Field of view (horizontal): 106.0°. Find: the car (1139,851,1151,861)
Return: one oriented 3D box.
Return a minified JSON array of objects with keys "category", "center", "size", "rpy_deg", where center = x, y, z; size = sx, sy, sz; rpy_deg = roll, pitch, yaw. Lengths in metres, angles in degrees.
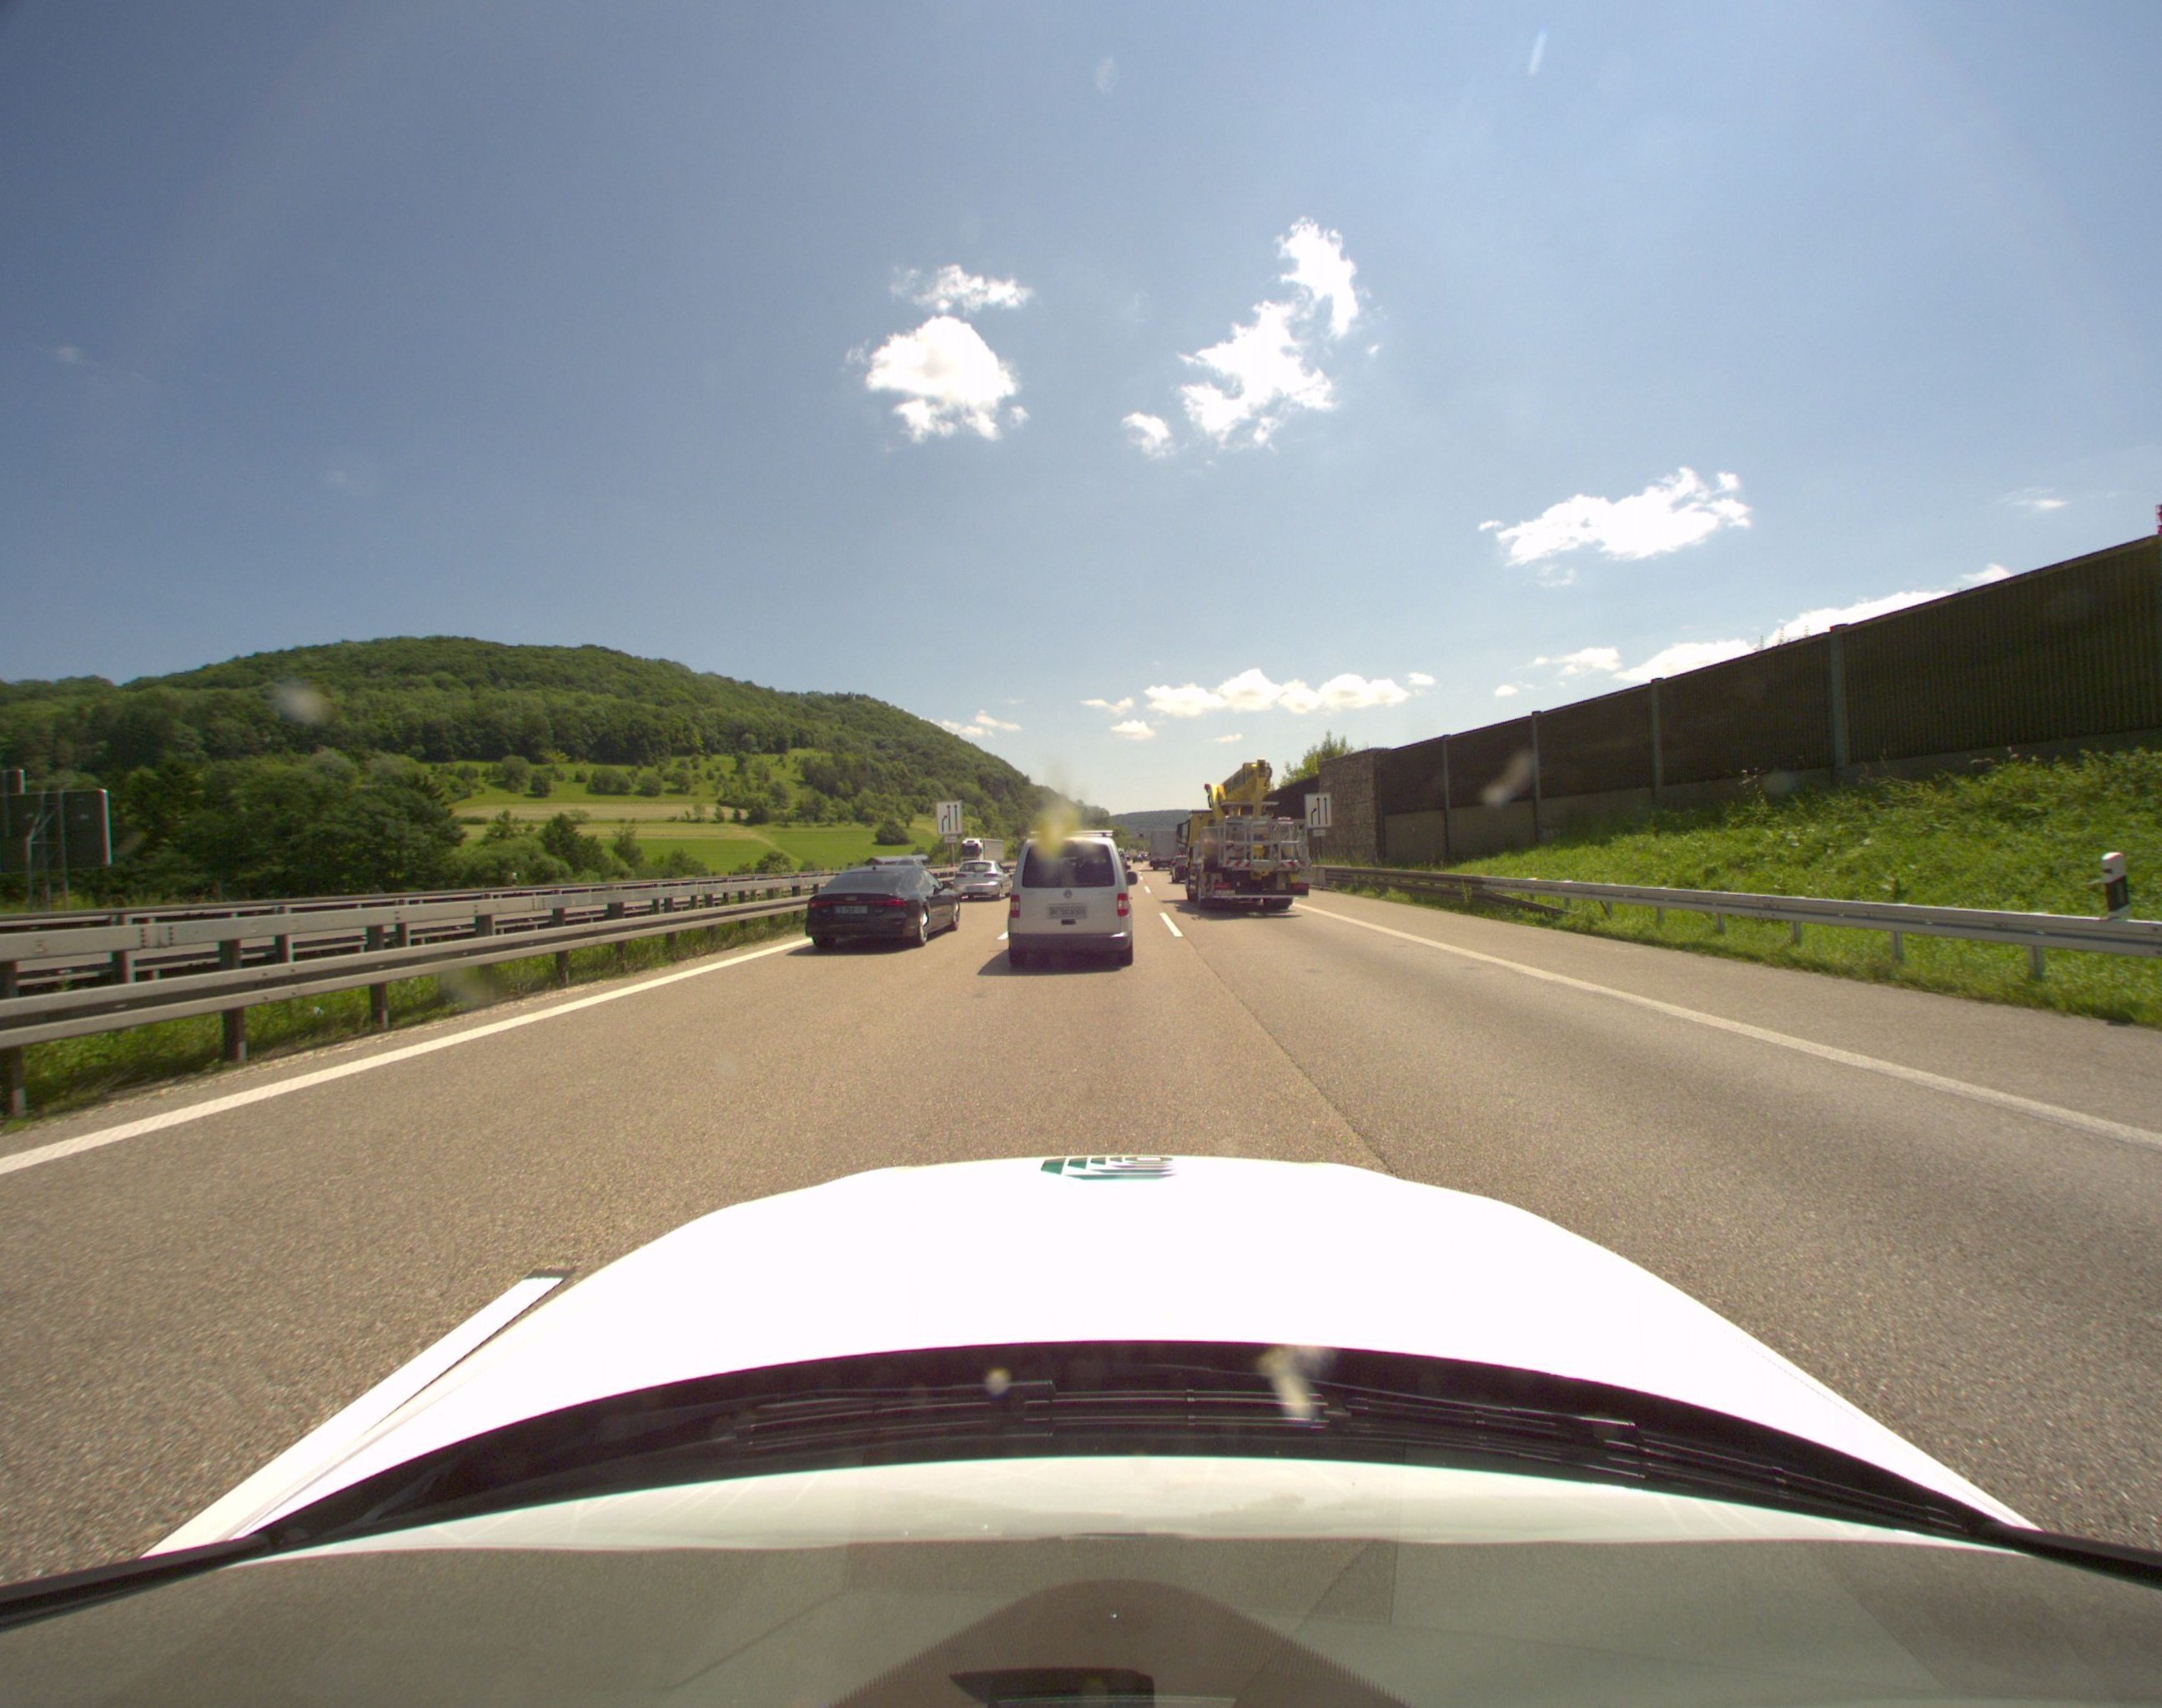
[{"category":"car","center":[12.739,0.368,161.810],"size":[2.107,1.828,3.999],"rpy_deg":[0,-1,0]}]

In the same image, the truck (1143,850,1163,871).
[{"category":"truck","center":[9.165,0.757,103.336],"size":[2.379,2.541,5.947],"rpy_deg":[-1,0,5]}]

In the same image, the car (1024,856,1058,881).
[{"category":"car","center":[-2.475,0.885,51.354],"size":[1.918,1.499,4.000],"rpy_deg":[-1,0,0]}]

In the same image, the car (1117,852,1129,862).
[{"category":"car","center":[7.803,0.606,152.351],"size":[2.107,1.828,3.999],"rpy_deg":[0,-1,0]}]

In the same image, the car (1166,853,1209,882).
[{"category":"car","center":[5.625,0.698,43.330],"size":[1.780,1.458,3.771],"rpy_deg":[-1,0,0]}]

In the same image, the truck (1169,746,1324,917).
[{"category":"truck","center":[4.372,-0.525,23.490],"size":[2.695,3.942,8.721],"rpy_deg":[-1,0,1]}]

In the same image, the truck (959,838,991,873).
[{"category":"truck","center":[-13.496,0.202,104.369],"size":[2.786,4.232,7.237],"rpy_deg":[0,-1,3]}]

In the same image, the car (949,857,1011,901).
[{"category":"car","center":[-3.573,0.863,29.439],"size":[1.690,1.445,3.862],"rpy_deg":[-1,0,1]}]

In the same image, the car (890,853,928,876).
[{"category":"car","center":[-12.808,0.757,60.845],"size":[1.842,1.609,4.080],"rpy_deg":[-1,0,2]}]

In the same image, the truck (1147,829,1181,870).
[{"category":"truck","center":[8.143,-0.377,80.663],"size":[2.928,3.823,8.243],"rpy_deg":[0,-1,3]}]

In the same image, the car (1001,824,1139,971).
[{"category":"car","center":[-0.118,0.571,12.595],"size":[1.750,1.868,4.000],"rpy_deg":[-1,0,0]}]

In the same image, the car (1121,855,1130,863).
[{"category":"car","center":[9.517,1.082,174.519],"size":[1.986,1.805,4.001],"rpy_deg":[0,-1,2]}]

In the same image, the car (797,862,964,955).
[{"category":"car","center":[-3.538,0.894,15.391],"size":[1.794,1.390,4.970],"rpy_deg":[-1,0,1]}]

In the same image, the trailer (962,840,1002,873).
[{"category":"trailer","center":[-13.261,0.338,110.346],"size":[2.842,4.191,13.626],"rpy_deg":[0,-1,3]}]

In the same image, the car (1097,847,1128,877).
[{"category":"car","center":[2.147,0.530,56.319],"size":[1.987,1.975,4.000],"rpy_deg":[-1,0,0]}]

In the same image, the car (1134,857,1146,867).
[{"category":"car","center":[10.050,1.380,139.112],"size":[1.985,1.749,4.003],"rpy_deg":[0,-1,3]}]

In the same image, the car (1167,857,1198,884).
[{"category":"car","center":[7.830,1.248,63.252],"size":[1.986,2.013,4.002],"rpy_deg":[-1,0,2]}]
